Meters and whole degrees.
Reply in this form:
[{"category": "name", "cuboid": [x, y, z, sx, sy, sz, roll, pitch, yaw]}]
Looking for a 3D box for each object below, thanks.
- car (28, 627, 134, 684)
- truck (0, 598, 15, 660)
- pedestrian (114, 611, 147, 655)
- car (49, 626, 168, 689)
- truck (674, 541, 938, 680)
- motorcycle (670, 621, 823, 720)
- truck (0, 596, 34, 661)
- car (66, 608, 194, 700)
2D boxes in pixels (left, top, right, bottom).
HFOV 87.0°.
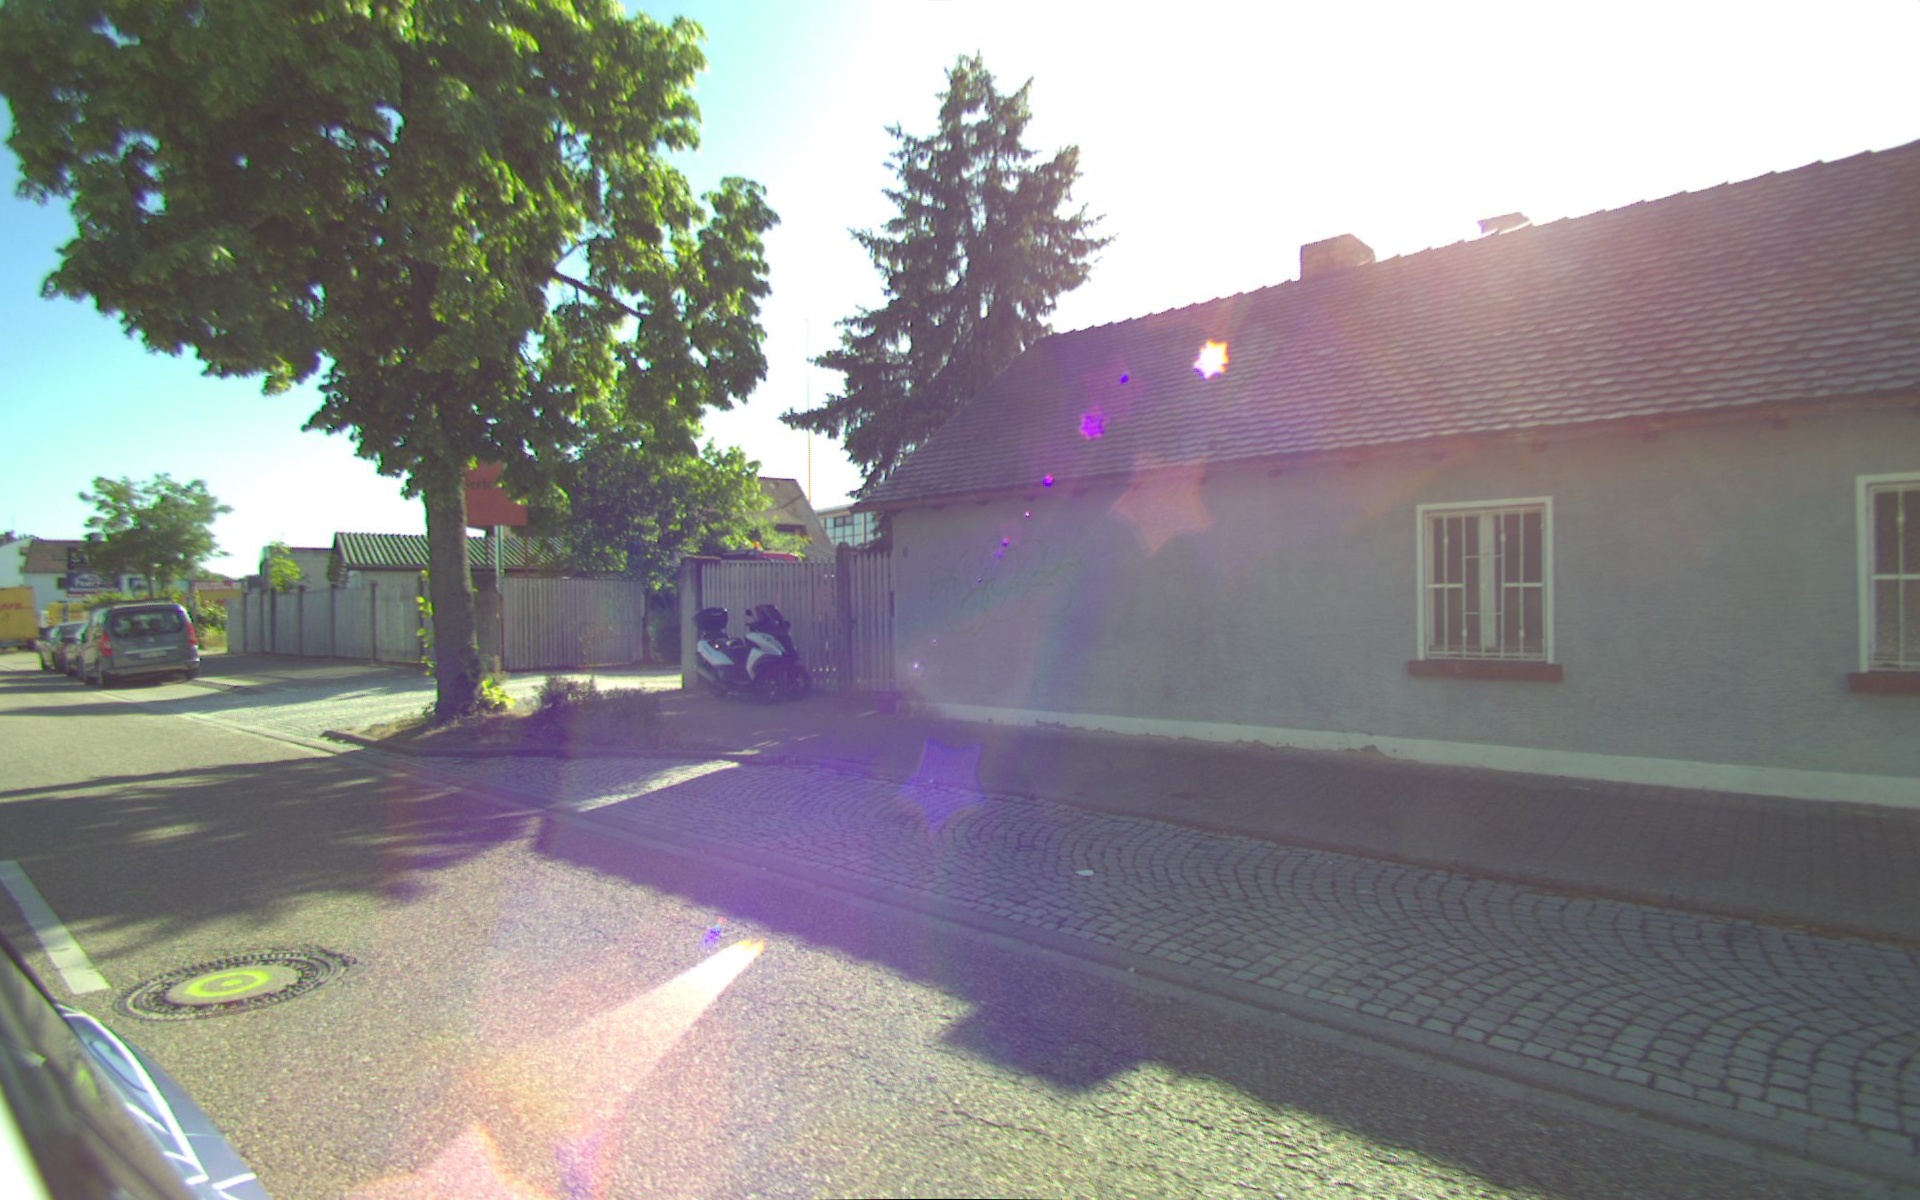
[{"category": "car", "cuboid": [-26.297, 1.601, 30.222, 4.921, 1.459, 1.757, -2, 1, 42]}, {"category": "truck", "cuboid": [-47.949, 1.444, 49.363, 5.748, 2.895, 2.117, -1, 1, 42]}, {"category": "pedestrian", "cuboid": [-34.259, 1.367, 41.805, 0.749, 1.756, 0.811, -1, 1, 35]}, {"category": "car", "cuboid": [-22.837, 1.476, 27.080, 4.613, 1.459, 1.757, -2, 1, 42]}, {"category": "truck", "cuboid": [-4.039, 0.281, 28.294, 2.898, 3.365, 7.341, -1, -1, 38]}, {"category": "motorcycle", "cuboid": [-3.076, 0.950, 14.386, 2.538, 1.242, 0.692, -1, 2, 41]}, {"category": "truck", "cuboid": [-42.858, 1.259, 44.799, 5.748, 2.734, 2.145, -1, 1, 42]}, {"category": "car", "cuboid": [-19.414, 1.180, 23.603, 4.616, 1.863, 1.756, -2, 1, 44]}]
